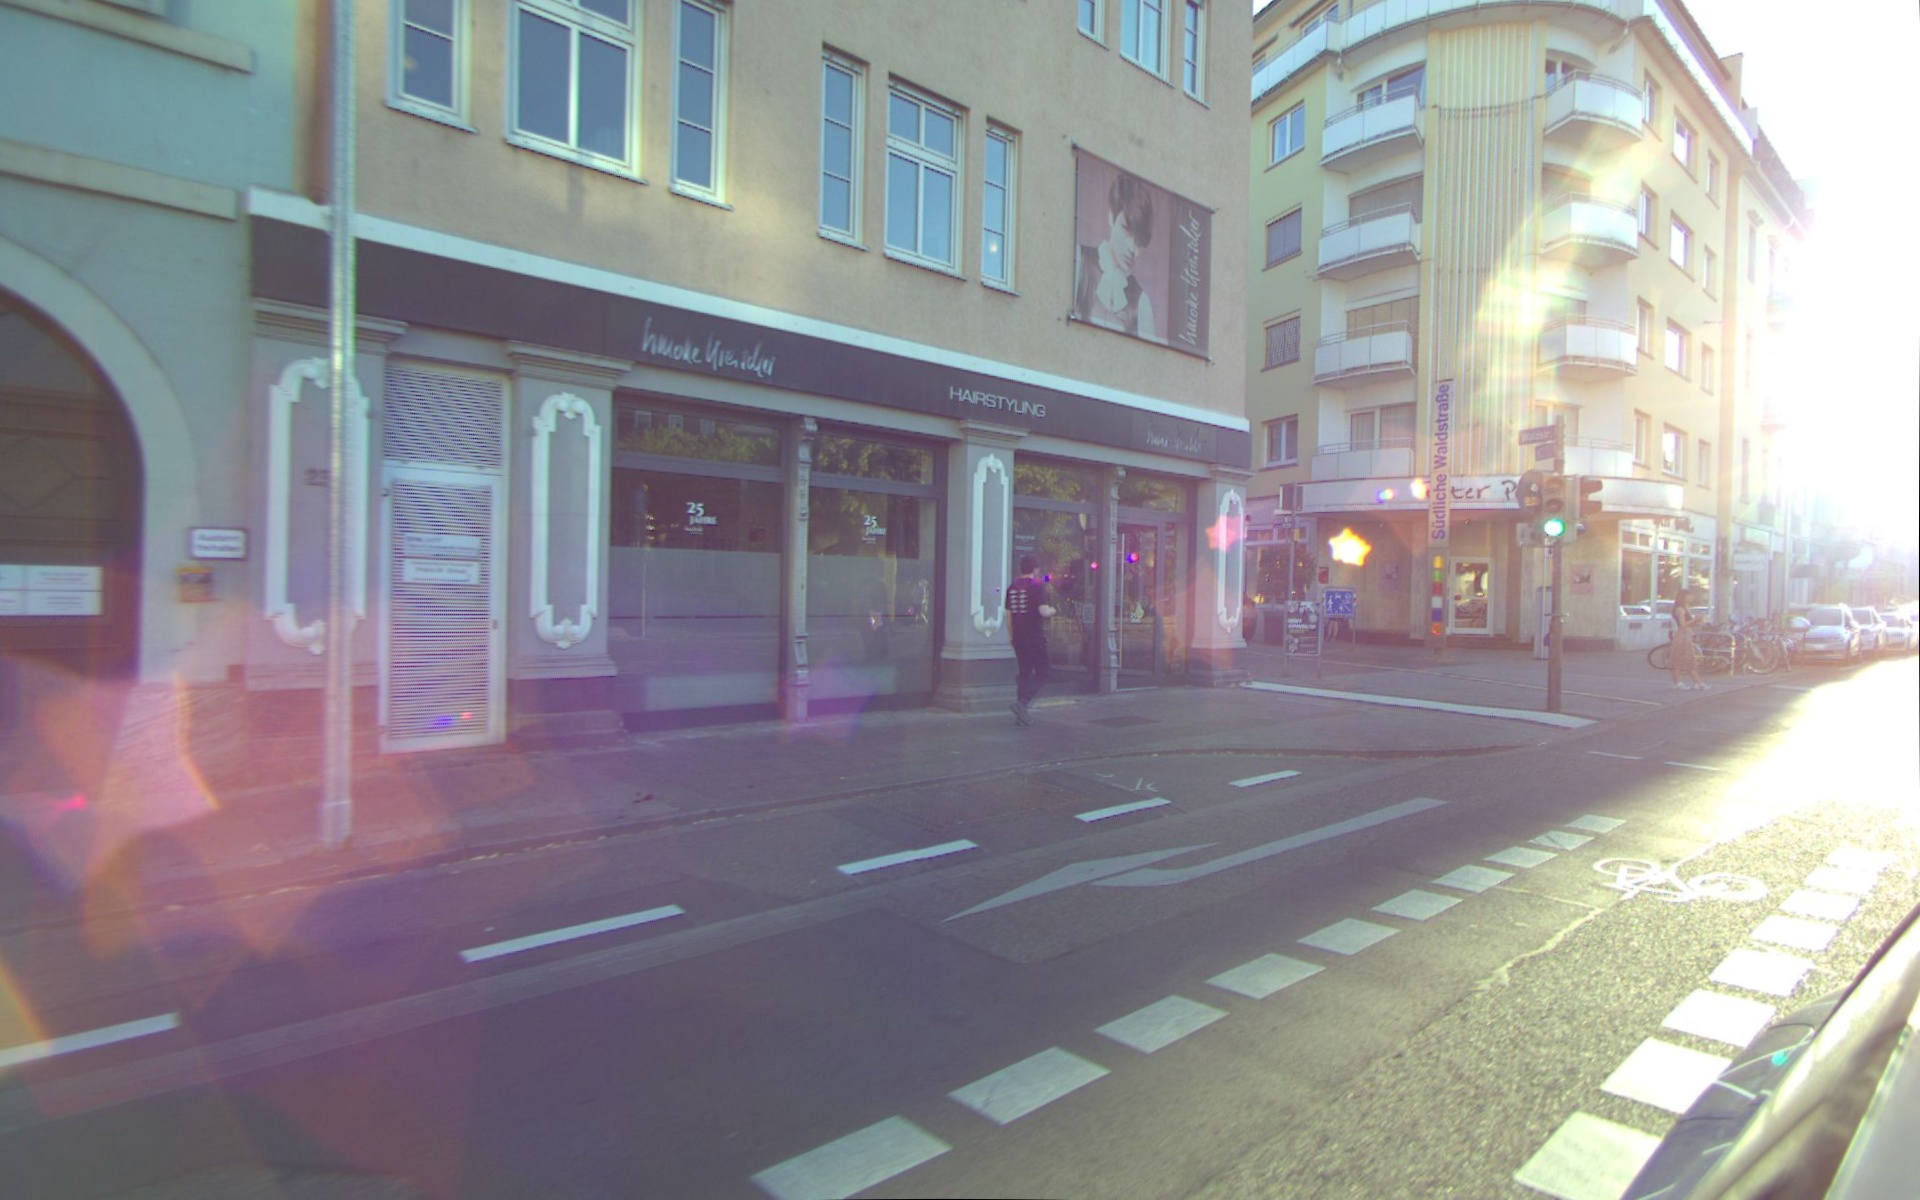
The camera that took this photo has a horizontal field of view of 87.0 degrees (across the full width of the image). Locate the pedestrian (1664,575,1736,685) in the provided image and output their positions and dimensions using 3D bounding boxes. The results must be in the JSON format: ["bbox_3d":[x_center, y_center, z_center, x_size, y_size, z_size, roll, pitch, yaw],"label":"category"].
[{"bbox_3d":[12.198,0.474,16.693,0.689,1.768,0.840,0,0,-42],"label":"pedestrian"}]

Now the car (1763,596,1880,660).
[{"bbox_3d":[23.515,0.700,27.568,4.434,1.567,1.995,-1,1,-43],"label":"car"}]

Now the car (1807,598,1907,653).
[{"bbox_3d":[28.209,0.747,31.774,4.434,1.567,1.995,-1,1,-43],"label":"car"}]

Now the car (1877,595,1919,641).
[{"bbox_3d":[36.820,0.666,38.790,4.431,1.668,1.997,-1,0,-41],"label":"car"}]

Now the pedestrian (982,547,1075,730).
[{"bbox_3d":[0.717,0.361,10.541,0.668,1.806,0.714,3,3,32],"label":"pedestrian"}]

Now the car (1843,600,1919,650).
[{"bbox_3d":[32.375,0.823,35.149,4.431,1.567,1.997,-1,0,-41],"label":"car"}]

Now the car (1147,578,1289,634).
[{"bbox_3d":[7.764,0.138,30.927,1.958,1.567,4.518,0,0,-21],"label":"car"}]

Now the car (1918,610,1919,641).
[{"bbox_3d":[51.721,1.306,53.025,4.434,1.567,1.995,-1,1,-43],"label":"car"}]
